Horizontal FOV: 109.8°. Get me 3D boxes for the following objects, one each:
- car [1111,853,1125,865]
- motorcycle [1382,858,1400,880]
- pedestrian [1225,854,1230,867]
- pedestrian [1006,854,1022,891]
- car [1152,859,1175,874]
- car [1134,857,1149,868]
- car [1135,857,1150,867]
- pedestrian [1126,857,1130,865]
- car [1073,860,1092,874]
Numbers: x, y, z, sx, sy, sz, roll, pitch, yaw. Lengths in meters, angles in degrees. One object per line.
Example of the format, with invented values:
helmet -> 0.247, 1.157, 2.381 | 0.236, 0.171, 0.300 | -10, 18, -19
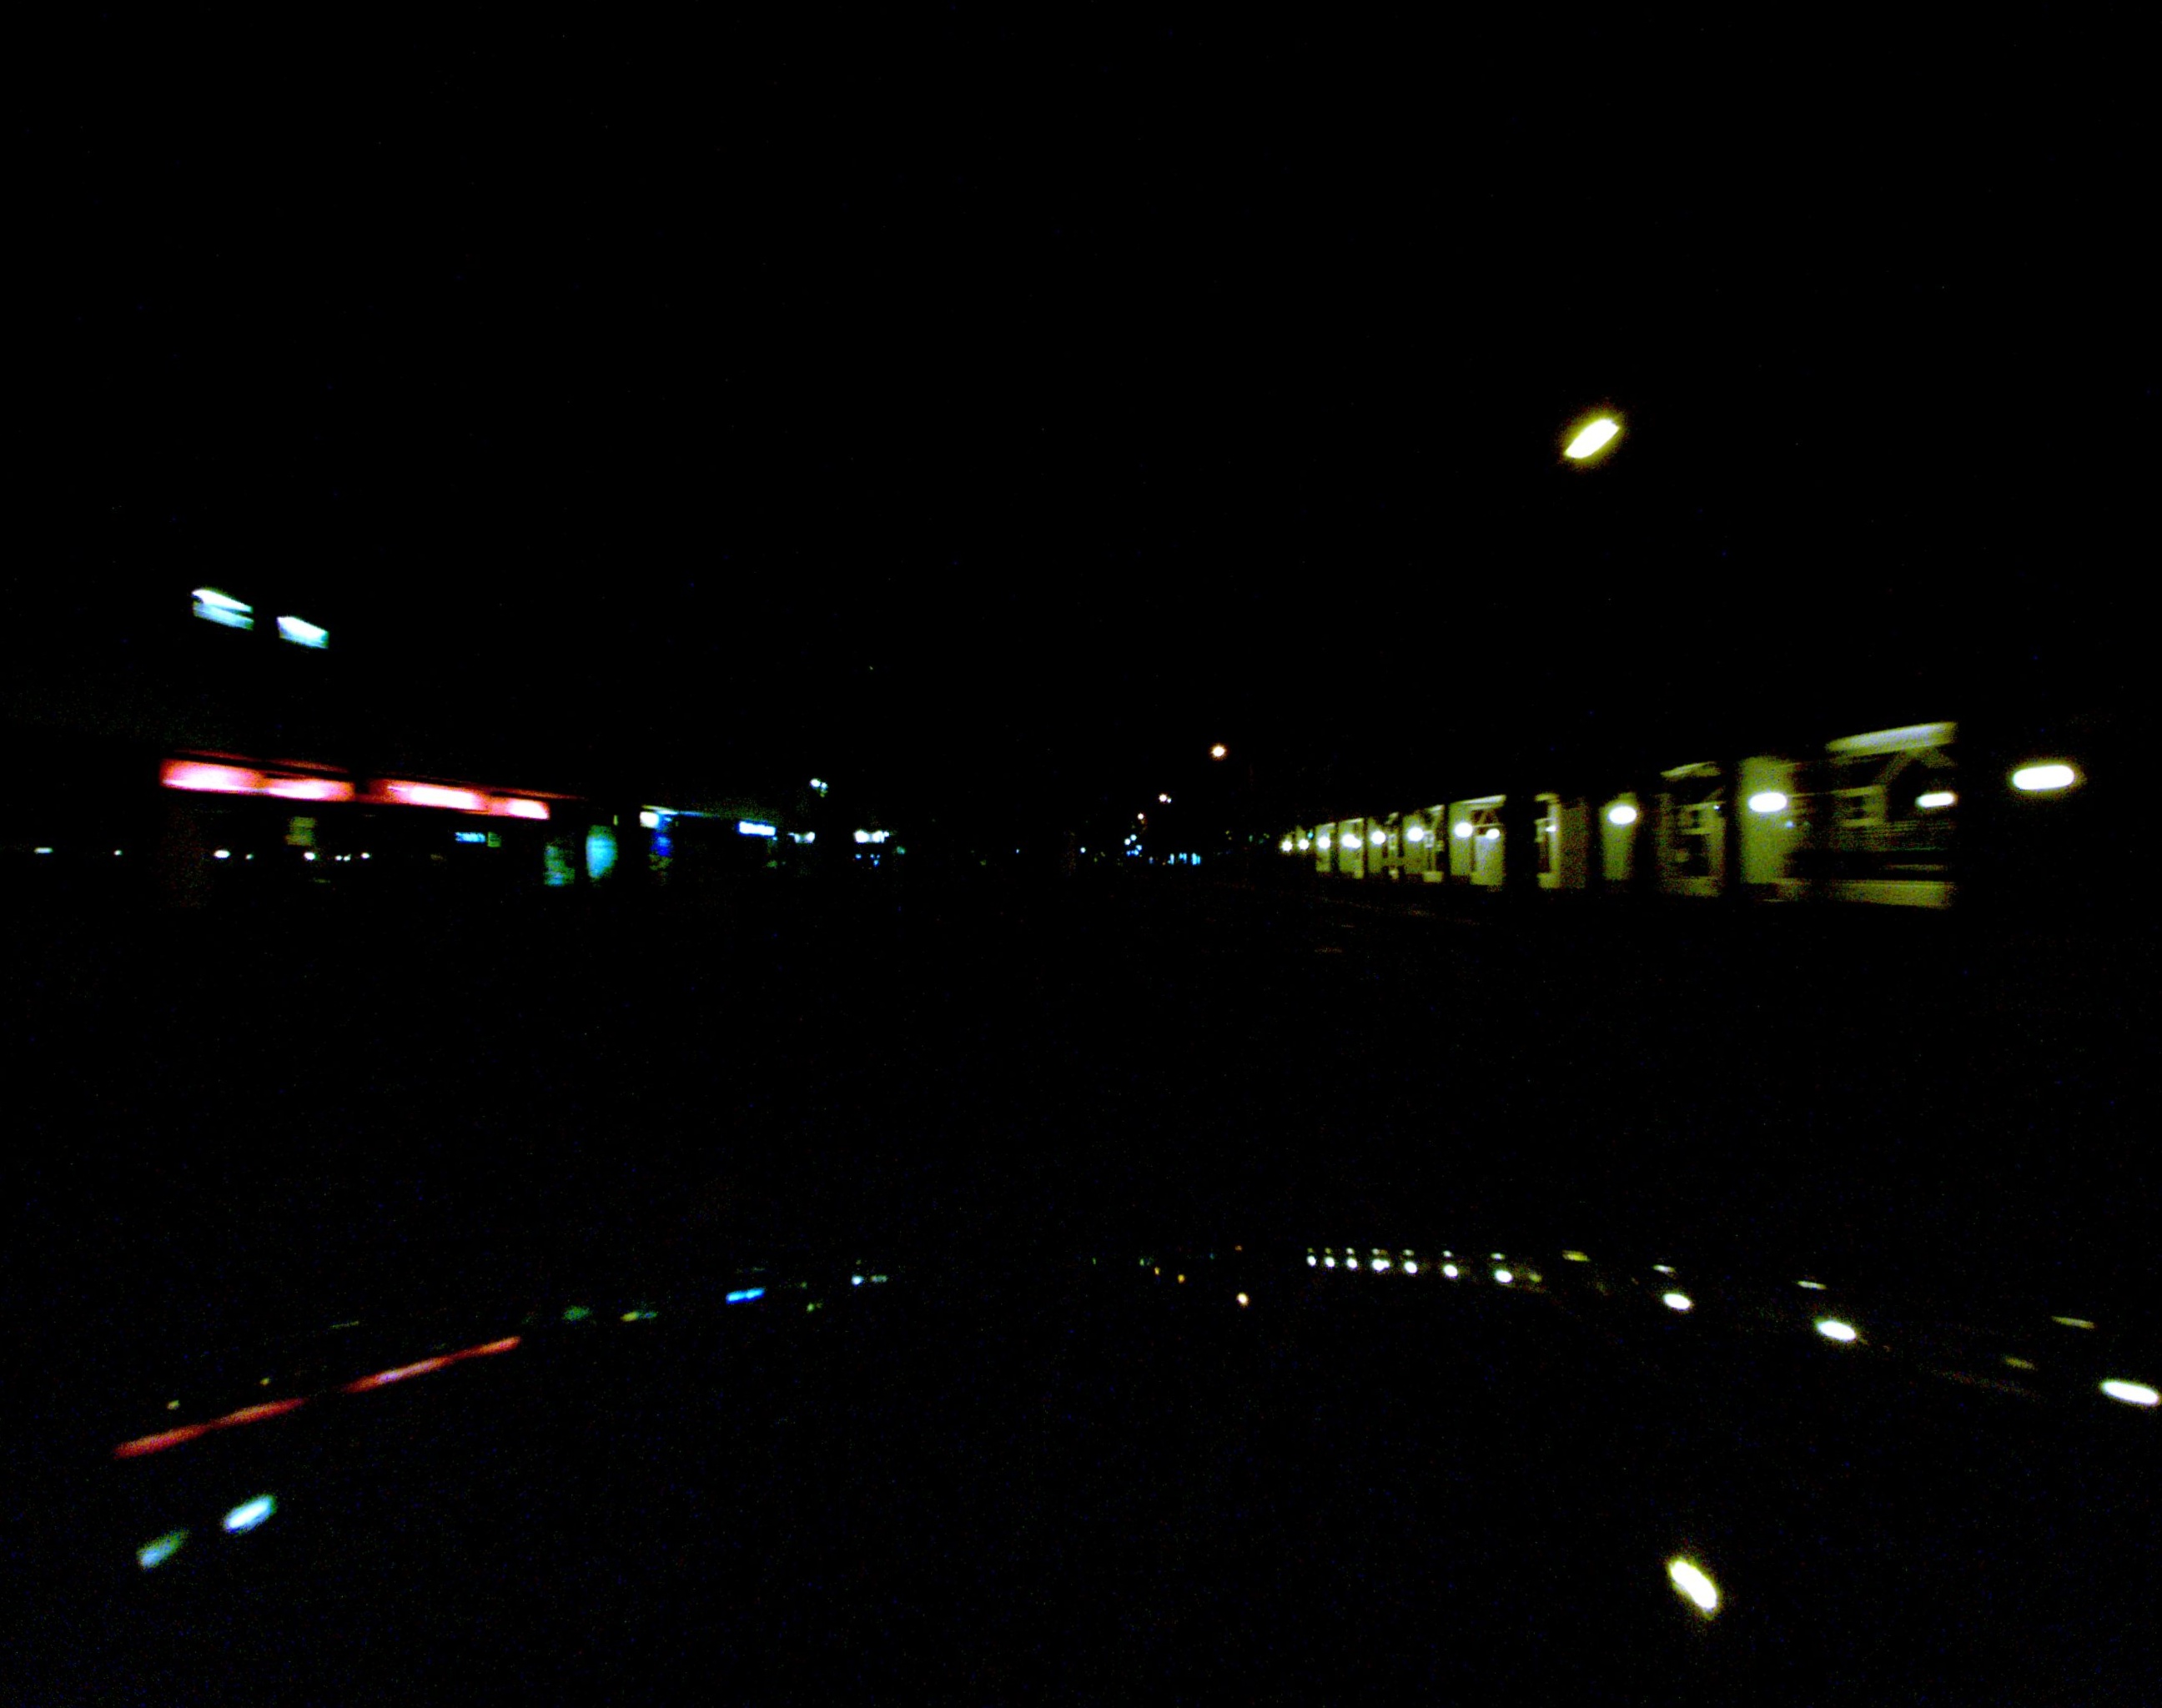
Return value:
car -> 6.837, 0.956, 141.306 | 1.858, 2.075, 5.088 | 0, 0, -4
motorcycle -> 14.815, 0.712, 36.305 | 0.479, 1.014, 1.677 | -1, 0, 11
pedestrian -> 18.384, 0.763, 95.510 | 0.479, 1.627, 0.632 | 0, 0, 2
pedestrian -> -3.295, 0.897, 37.435 | 0.704, 1.808, 1.082 | 0, 0, 1
car -> 7.790, 1.142, 72.080 | 1.745, 1.405, 4.496 | 0, 0, 1
car -> 8.346, 1.176, 104.930 | 1.726, 1.420, 3.977 | 0, 0, 1
car -> 8.838, 1.124, 110.251 | 1.811, 1.416, 4.921 | -2, 0, 1
pedestrian -> 10.241, 1.561, 165.364 | 0.719, 1.795, 0.716 | 0, 0, 1
car -> 0.173, 1.321, 77.551 | 1.768, 1.406, 4.808 | 0, 0, 2
